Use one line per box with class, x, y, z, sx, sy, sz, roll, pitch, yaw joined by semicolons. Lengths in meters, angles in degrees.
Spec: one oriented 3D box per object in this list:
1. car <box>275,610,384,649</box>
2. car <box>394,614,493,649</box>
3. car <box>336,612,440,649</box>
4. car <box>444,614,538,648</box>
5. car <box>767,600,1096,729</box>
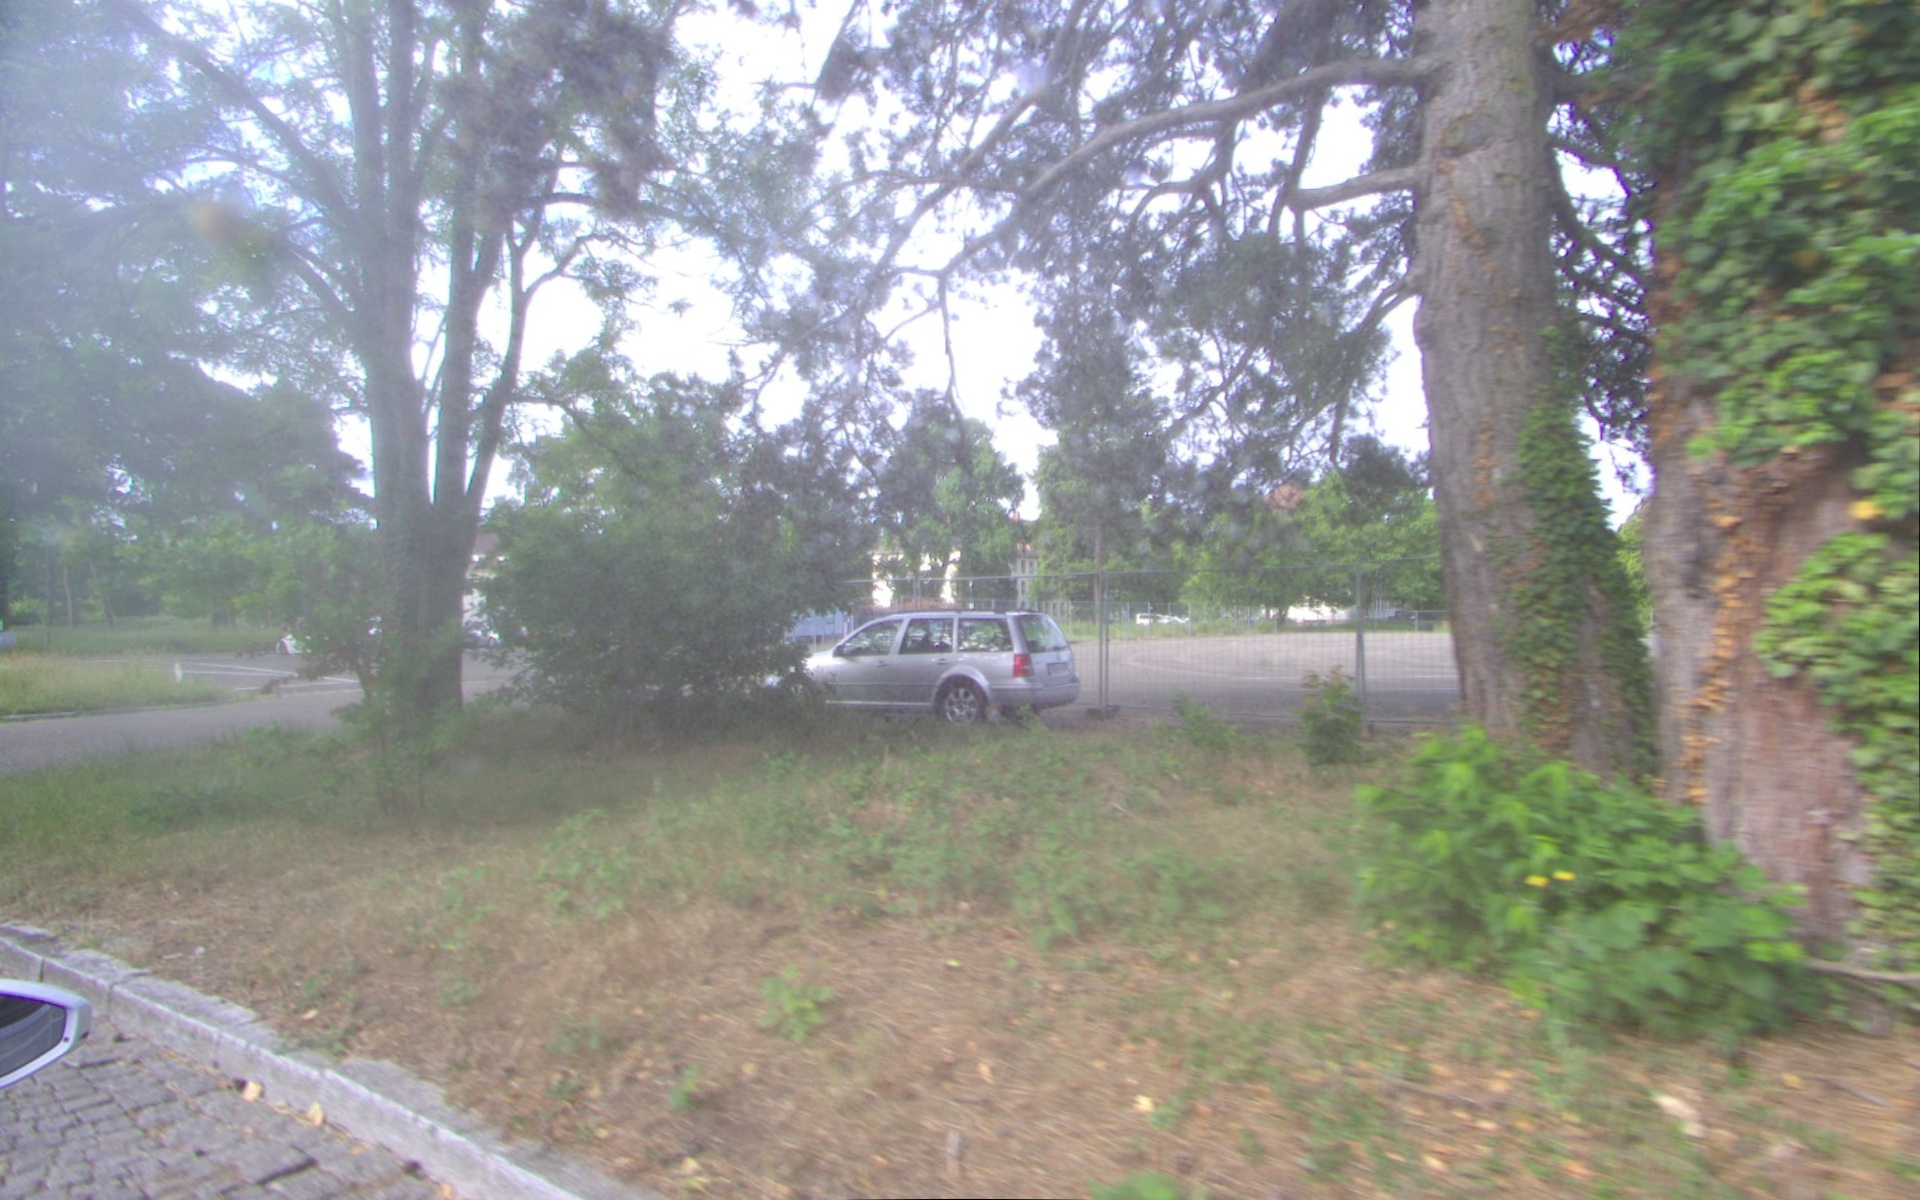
car;-26.237;1.244;41.646;4.359;1.500;1.992;-2;-1;29
car;-23.882;1.446;46.287;4.359;1.500;1.992;-2;-1;29
car;-25.053;1.341;43.872;4.359;1.500;1.992;-2;-1;29
car;-22.863;1.533;48.800;4.359;1.542;1.992;-2;-3;29
car;-0.421;0.792;12.981;4.014;1.444;1.645;-1;-3;31
